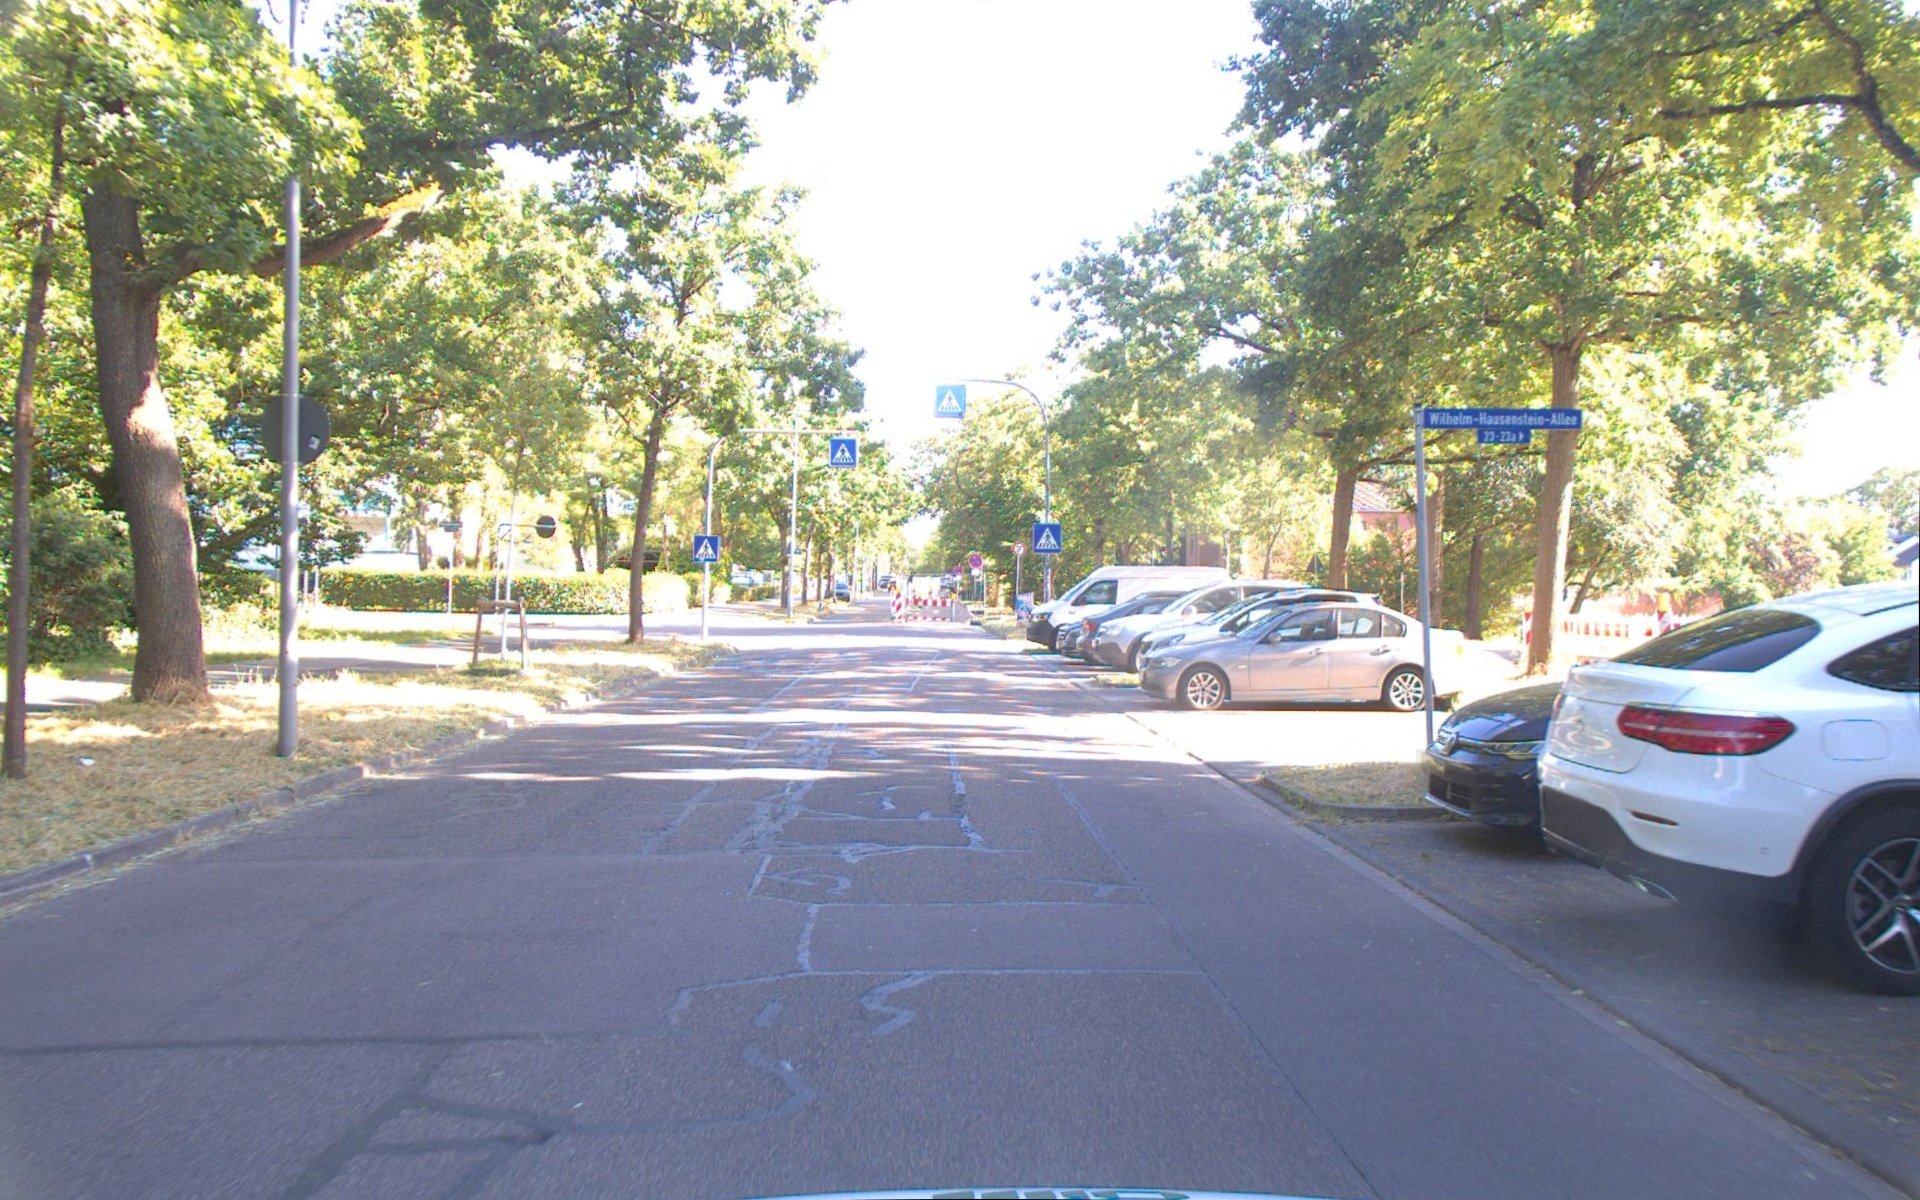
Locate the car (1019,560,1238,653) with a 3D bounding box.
[{"bbox_3d":[4.078,0.160,40.531,5.084,2.142,2.081,1,0,-3],"label":"car"}]

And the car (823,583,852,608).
[{"bbox_3d":[-9.119,-0.330,123.161,1.953,1.746,3.998,2,0,-2],"label":"car"}]

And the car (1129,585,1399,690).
[{"bbox_3d":[4.624,0.553,25.547,3.807,1.523,1.776,-1,0,-2],"label":"car"}]

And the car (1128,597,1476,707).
[{"bbox_3d":[4.588,0.679,22.626,4.355,1.414,1.910,0,0,-2],"label":"car"}]

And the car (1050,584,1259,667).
[{"bbox_3d":[4.101,0.521,35.345,4.129,1.596,1.932,2,0,-3],"label":"car"}]

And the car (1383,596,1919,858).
[{"bbox_3d":[5.257,0.729,10.613,4.577,1.481,1.916,0,0,-2],"label":"car"}]

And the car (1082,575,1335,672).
[{"bbox_3d":[4.481,0.408,30.229,4.297,1.680,1.850,-1,0,-3],"label":"car"}]

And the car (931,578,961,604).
[{"bbox_3d":[-0.999,-0.622,117.167,1.953,1.746,3.998,2,0,-2],"label":"car"}]

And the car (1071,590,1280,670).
[{"bbox_3d":[4.221,0.577,32.856,3.905,1.458,1.901,1,0,0],"label":"car"}]

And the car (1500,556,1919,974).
[{"bbox_3d":[5.015,0.619,7.391,4.576,1.608,1.916,0,0,-1],"label":"car"}]

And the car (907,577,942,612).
[{"bbox_3d":[-2.097,-0.329,96.223,1.953,1.966,3.998,2,0,-2],"label":"car"}]
